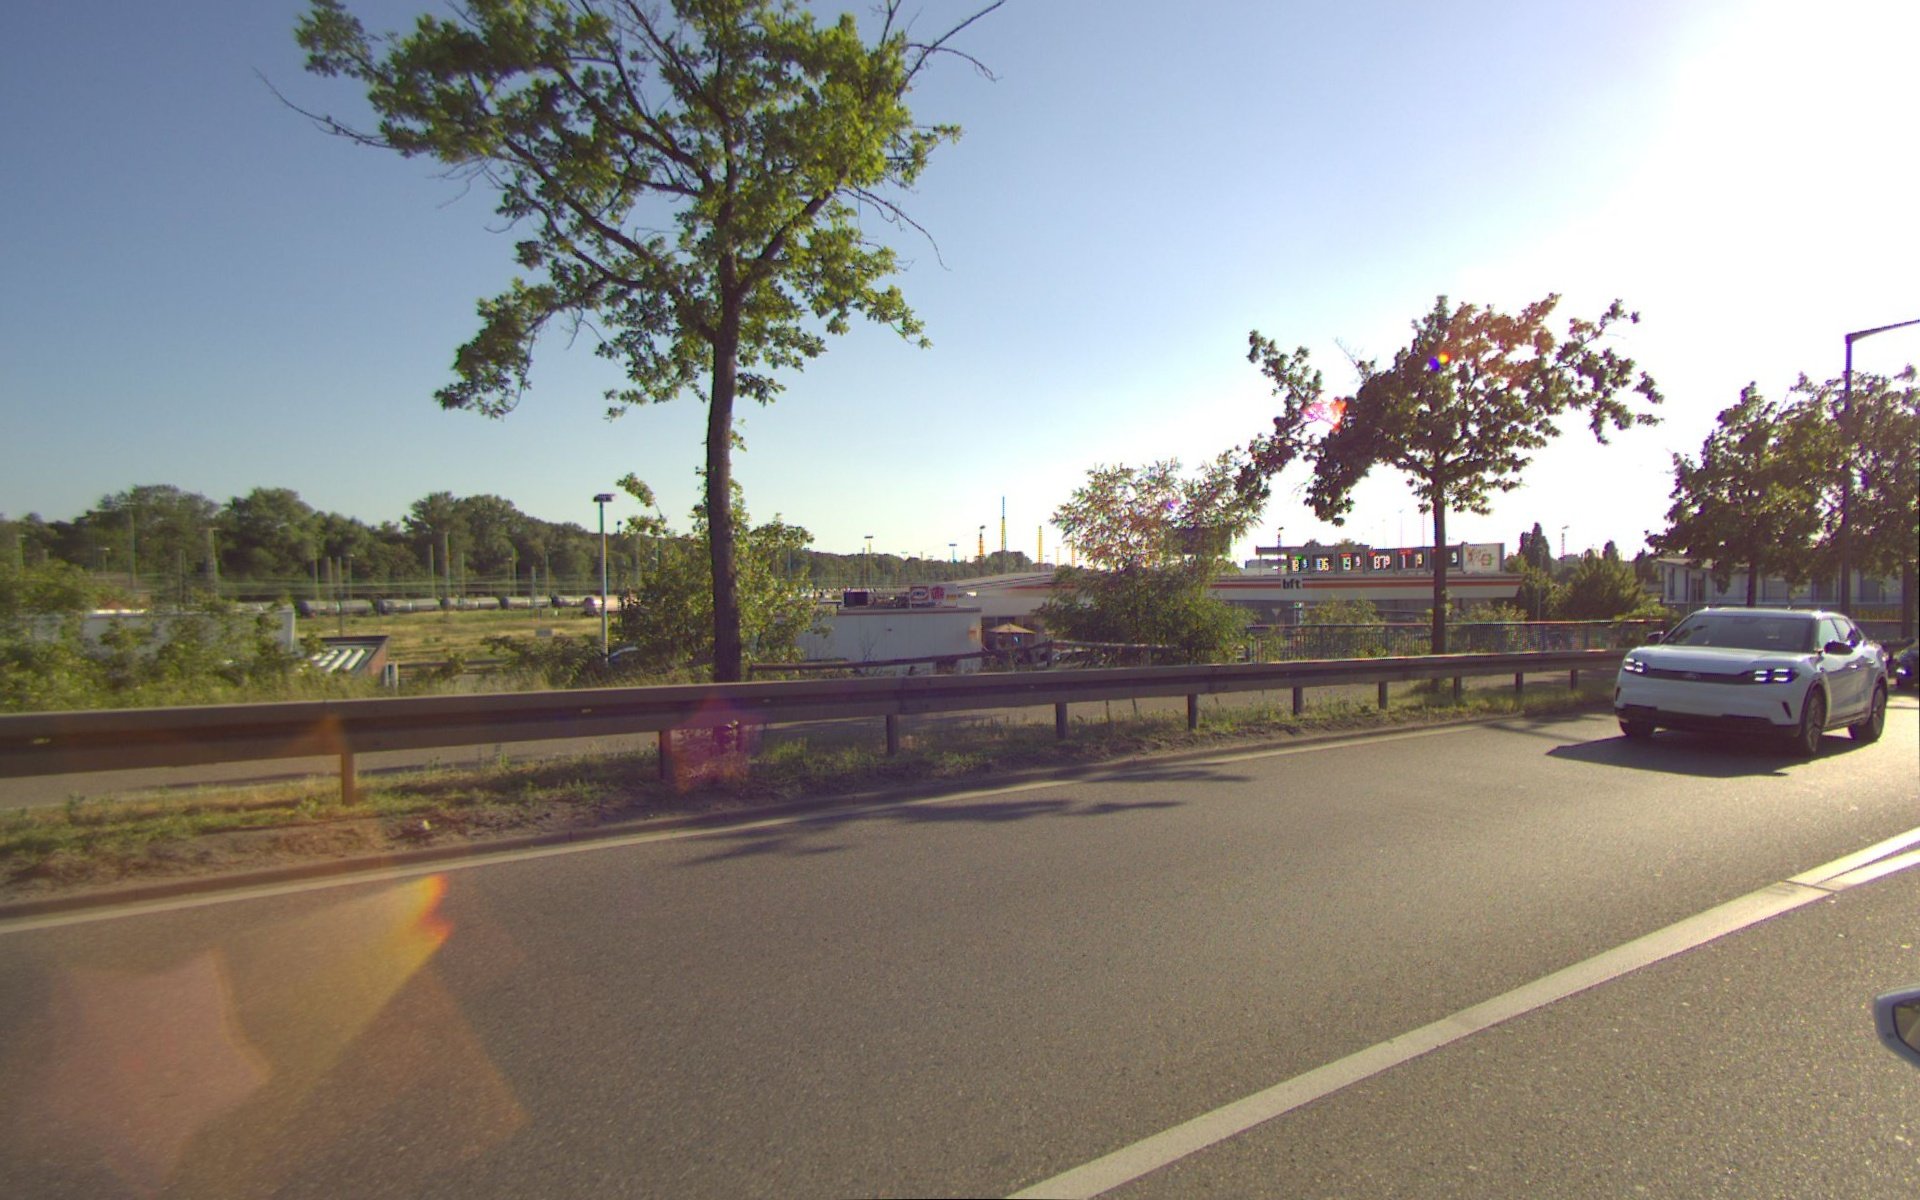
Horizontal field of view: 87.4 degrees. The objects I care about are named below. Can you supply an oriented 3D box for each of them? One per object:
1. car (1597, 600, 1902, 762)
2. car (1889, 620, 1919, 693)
[{"bbox_3d":[9.902,0.900,12.474,4.605,1.610,1.814,2,1,-37],"label":"car"},{"bbox_3d":[21.761,1.221,21.684,4.343,1.485,1.759,1,0,-37],"label":"car"}]
